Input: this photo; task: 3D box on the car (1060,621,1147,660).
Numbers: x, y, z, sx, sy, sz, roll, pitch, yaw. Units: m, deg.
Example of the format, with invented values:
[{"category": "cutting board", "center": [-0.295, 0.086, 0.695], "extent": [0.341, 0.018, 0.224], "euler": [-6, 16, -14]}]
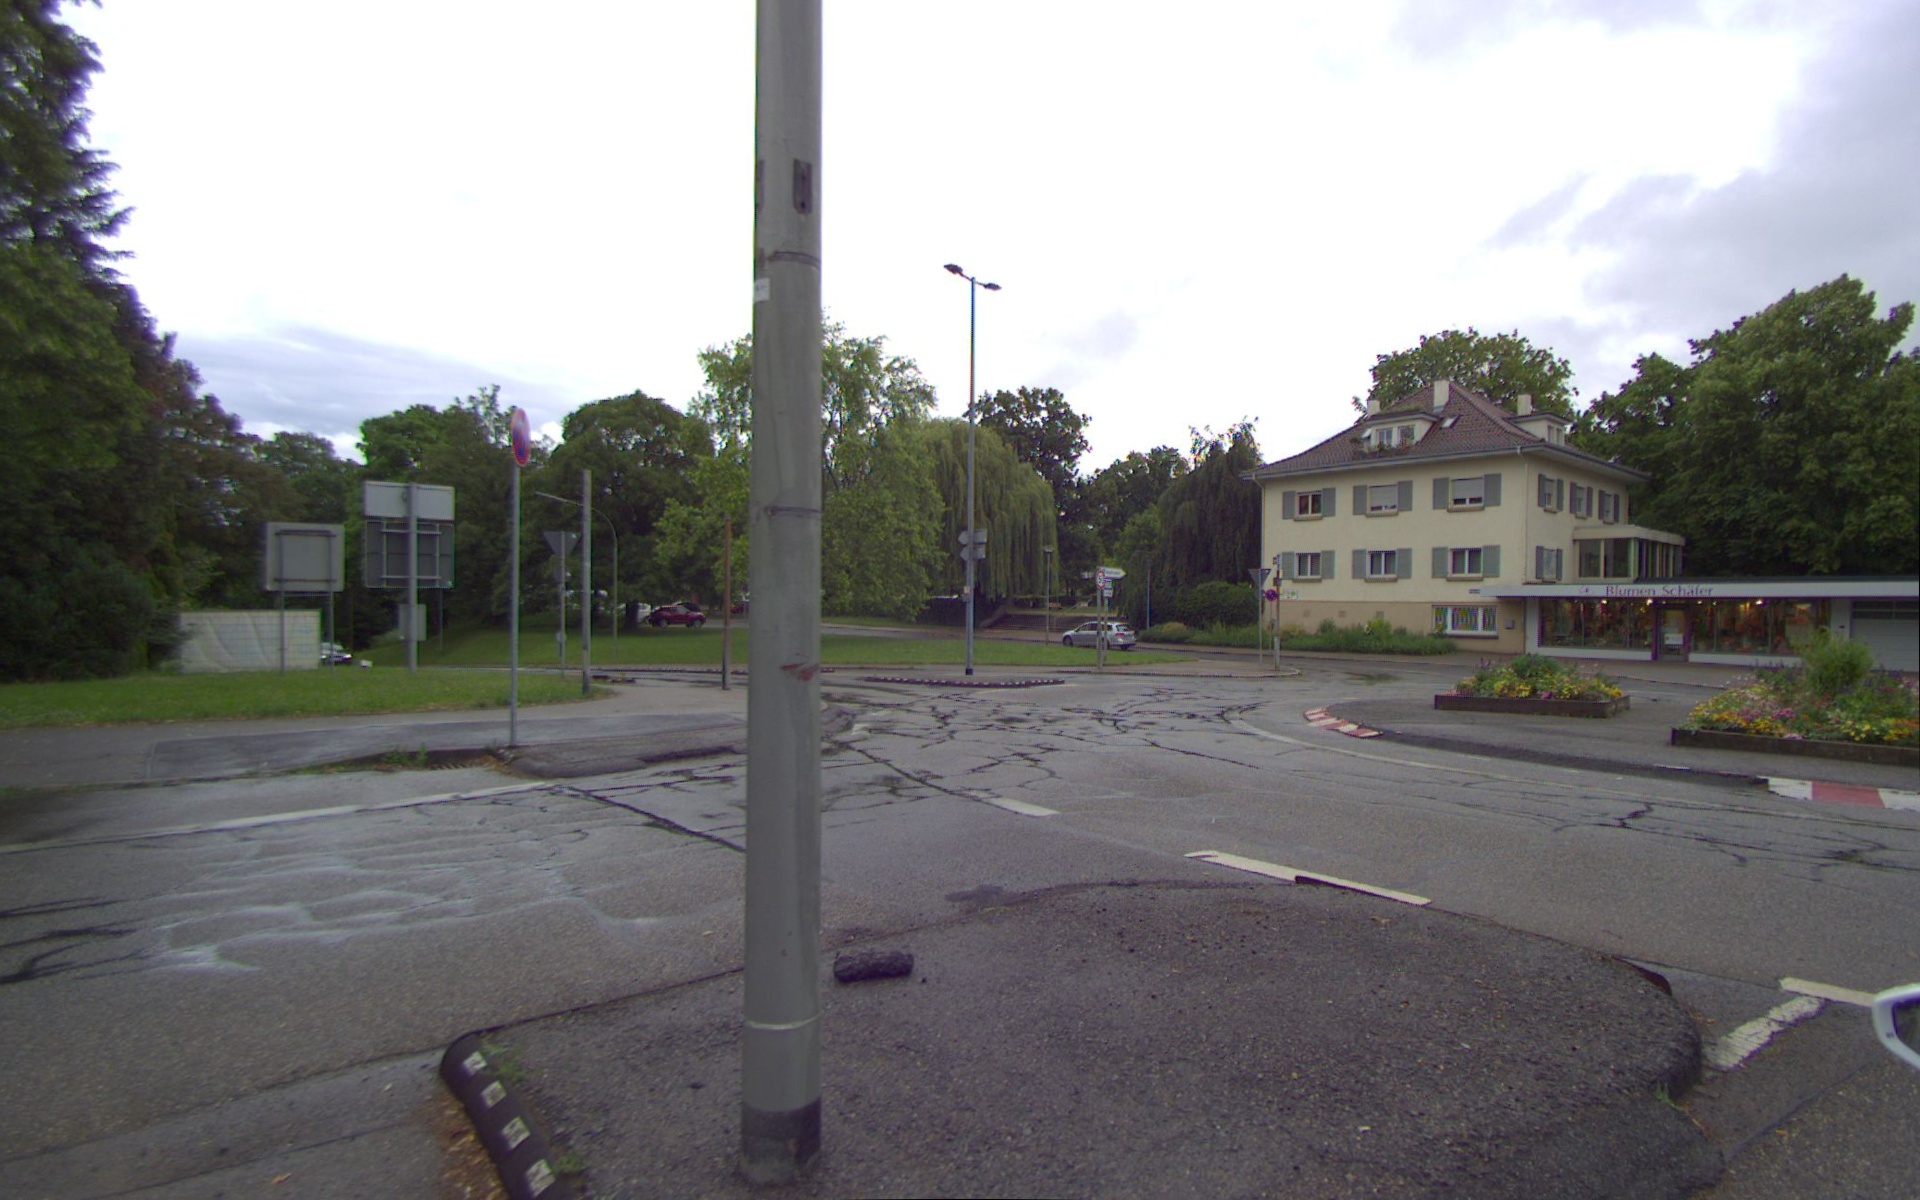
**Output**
[{"category": "car", "center": [7.508, 2.108, 52.677], "extent": [4.087, 1.764, 1.988], "euler": [3, 0, 45]}]

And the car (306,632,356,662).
[{"category": "car", "center": [-36.342, 2.709, 58.012], "extent": [1.703, 1.439, 3.948], "euler": [2, 1, -43]}]

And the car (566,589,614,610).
[{"category": "car", "center": [-32.390, -0.052, 87.942], "extent": [3.602, 1.615, 1.787], "euler": [3, 0, -37]}]

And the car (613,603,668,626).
[{"category": "car", "center": [-24.553, 1.134, 77.235], "extent": [3.602, 1.615, 1.787], "euler": [3, 0, -37]}]

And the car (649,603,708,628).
[{"category": "car", "center": [-19.972, 1.110, 71.331], "extent": [3.602, 1.615, 1.787], "euler": [3, 0, -37]}]
